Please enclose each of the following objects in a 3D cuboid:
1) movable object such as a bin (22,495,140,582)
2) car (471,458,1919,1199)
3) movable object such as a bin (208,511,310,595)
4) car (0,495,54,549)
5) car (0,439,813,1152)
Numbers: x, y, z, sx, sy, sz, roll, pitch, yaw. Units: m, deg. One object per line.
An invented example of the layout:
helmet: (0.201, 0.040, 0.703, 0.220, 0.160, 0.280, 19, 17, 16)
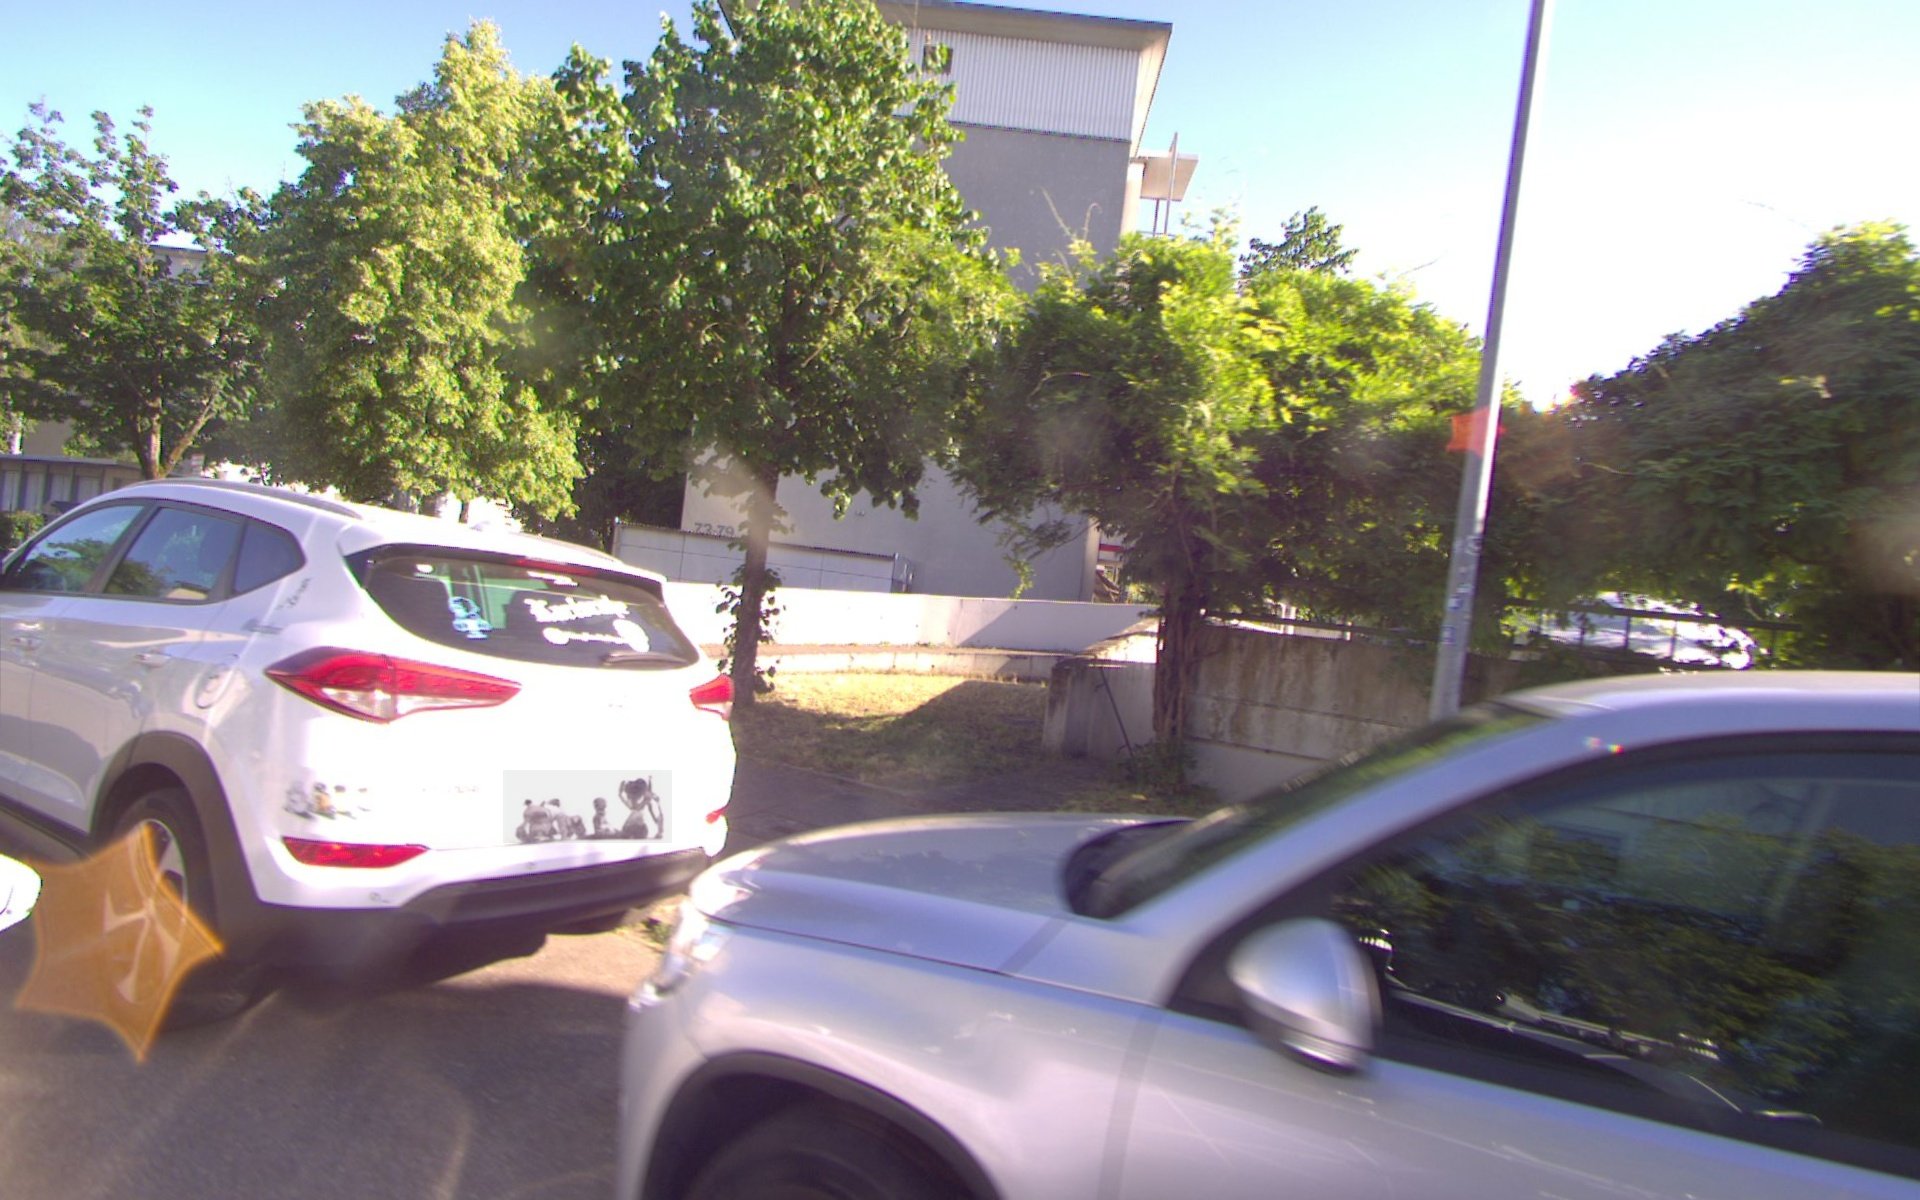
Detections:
movable object such as a bin: (-16.498, -1.135, 18.907, 1.051, 1.447, 1.326, 7, 2, 28)
car: (1.222, 0.842, 1.741, 3.916, 1.706, 1.757, 7, -1, 30)
movable object such as a bin: (-14.888, -0.977, 21.379, 1.011, 1.555, 1.327, 7, -1, 28)
car: (-31.165, -2.678, 31.156, 1.787, 1.512, 4.190, 7, -1, 31)
car: (-2.968, 0.353, 4.300, 4.338, 1.694, 1.757, 7, -1, 30)
